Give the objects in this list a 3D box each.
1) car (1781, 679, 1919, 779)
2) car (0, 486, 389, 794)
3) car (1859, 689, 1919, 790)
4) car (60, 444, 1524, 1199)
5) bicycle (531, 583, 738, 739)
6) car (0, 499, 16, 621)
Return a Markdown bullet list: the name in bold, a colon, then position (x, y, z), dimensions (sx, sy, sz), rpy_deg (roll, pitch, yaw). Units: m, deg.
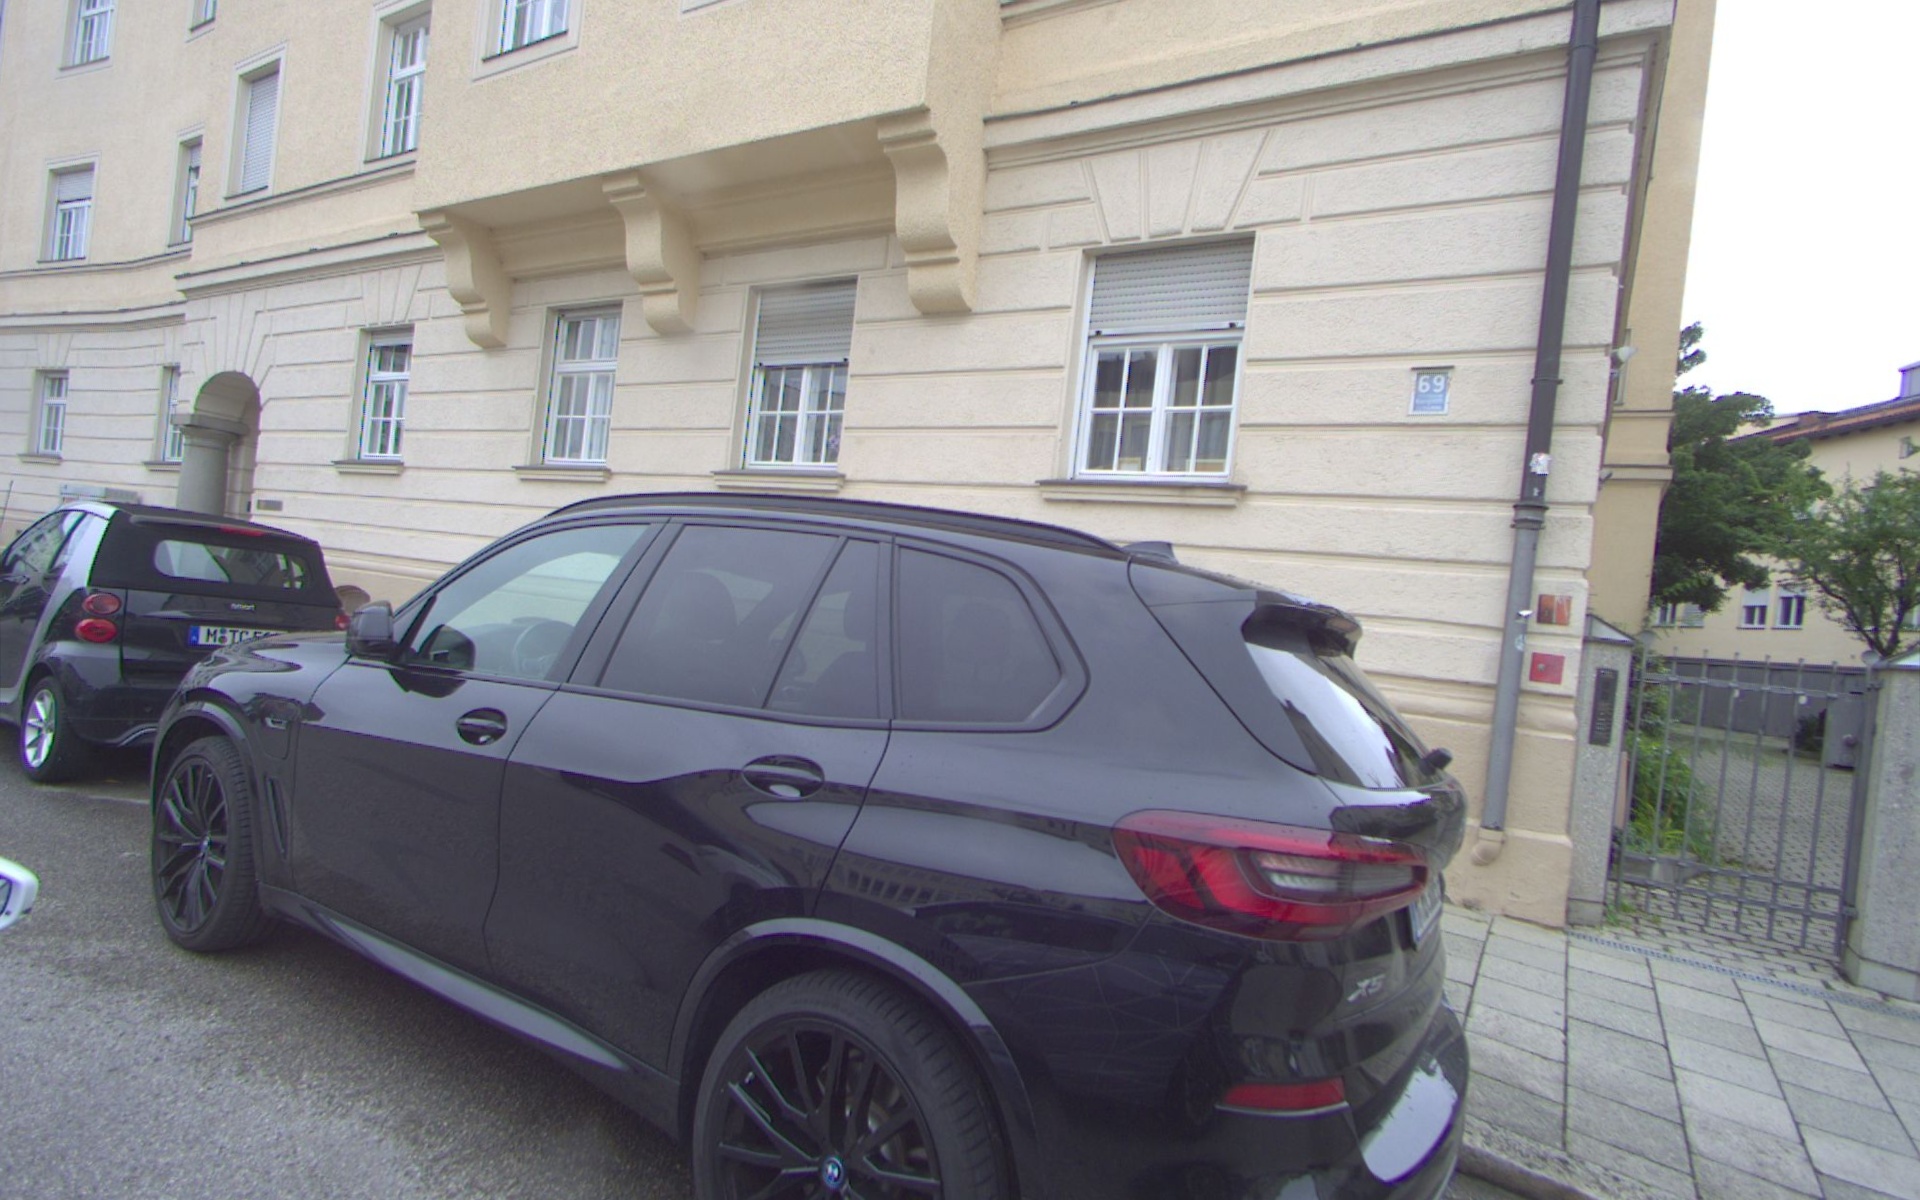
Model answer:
- **car**: position (18.532, 2.566, 19.233), dimensions (4.168, 1.568, 1.932), rpy_deg (6, 1, -7)
- **car**: position (-5.415, 0.166, 6.616), dimensions (3.060, 1.541, 1.537), rpy_deg (6, -2, 33)
- **car**: position (17.602, 2.517, 16.564), dimensions (4.168, 1.534, 1.780), rpy_deg (6, 1, -7)
- **car**: position (-0.923, 0.554, 3.458), dimensions (4.786, 1.737, 1.872), rpy_deg (6, -2, 32)
- **bicycle**: position (-2.908, 0.494, 8.902), dimensions (1.921, 1.097, 0.579), rpy_deg (7, 3, 32)
- **car**: position (-10.923, -0.448, 9.699), dimensions (3.768, 1.464, 1.711), rpy_deg (6, -2, 33)
